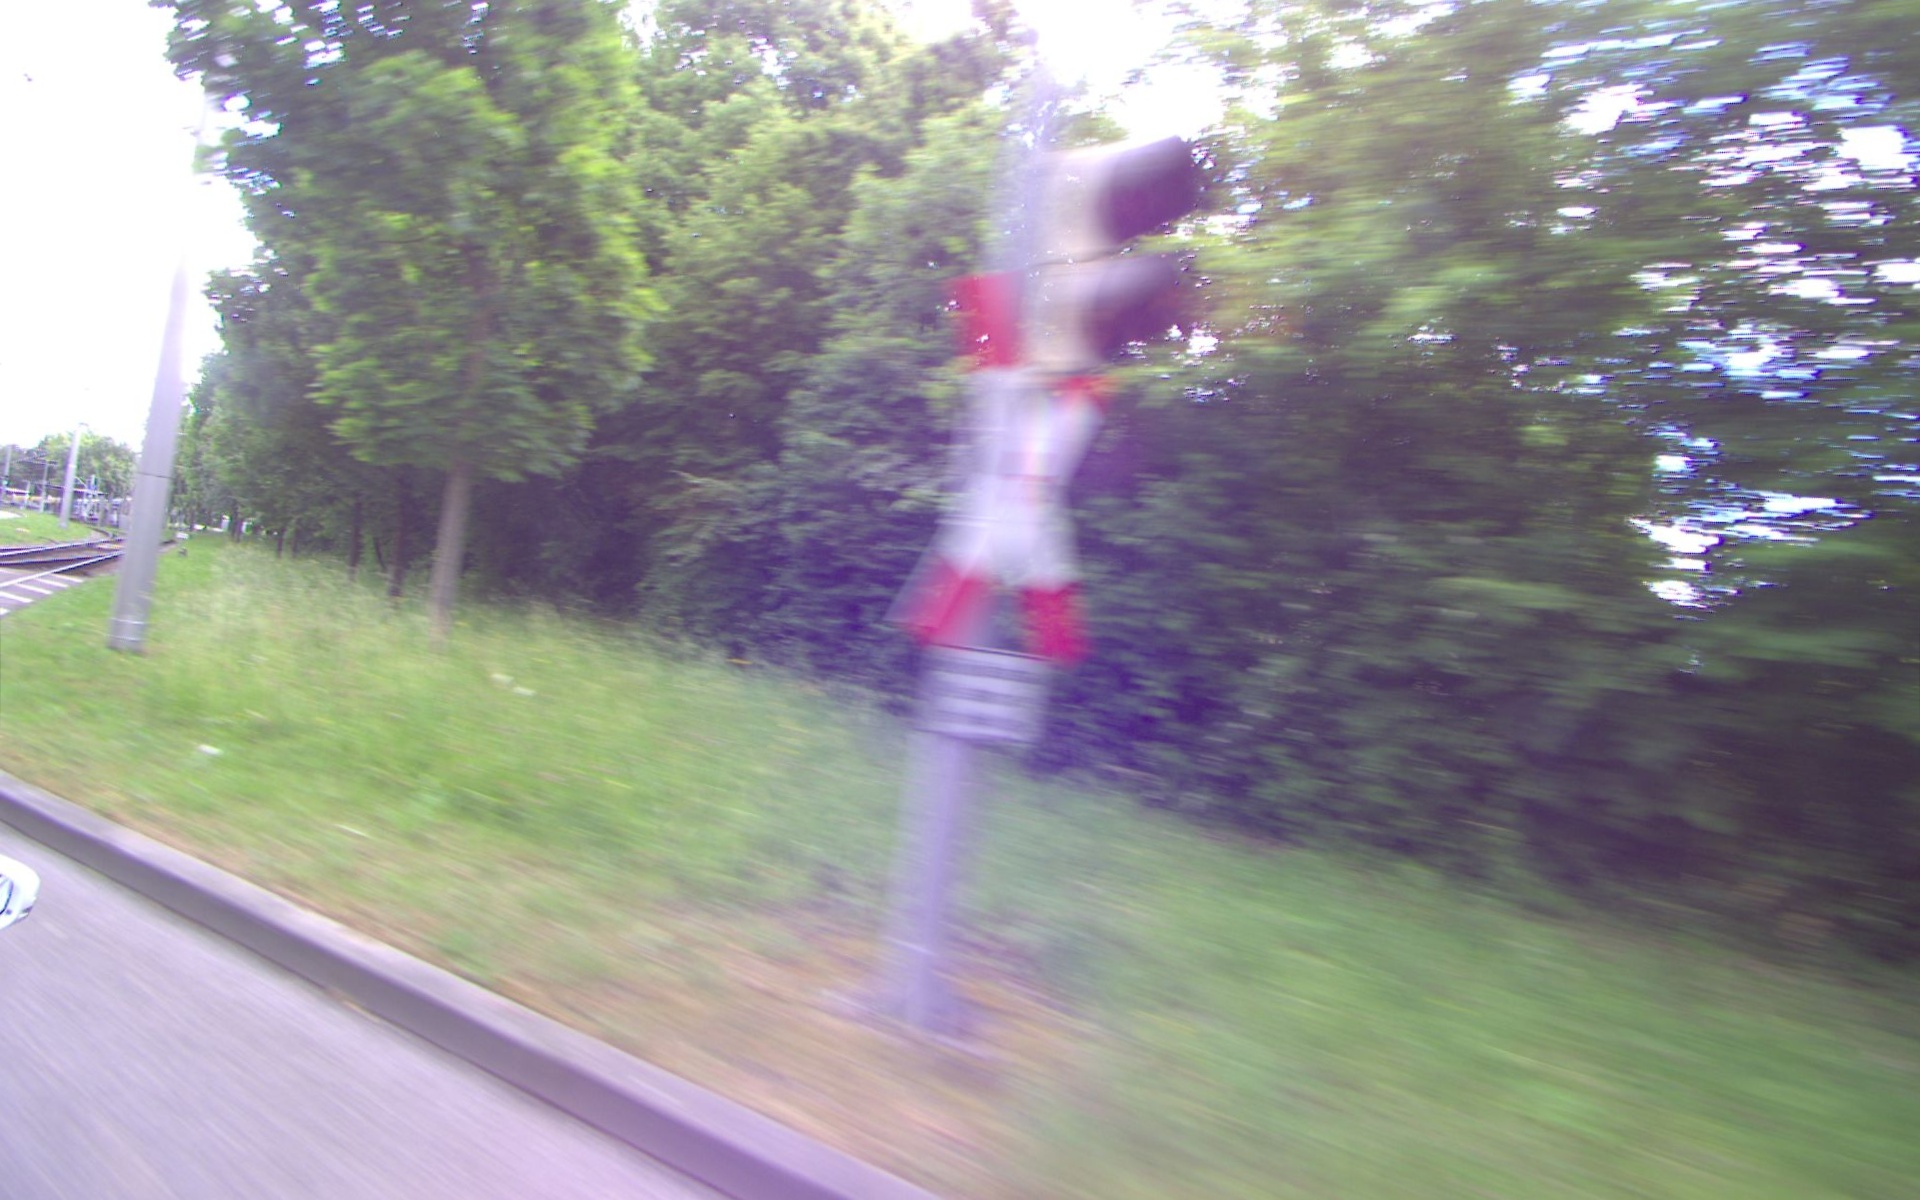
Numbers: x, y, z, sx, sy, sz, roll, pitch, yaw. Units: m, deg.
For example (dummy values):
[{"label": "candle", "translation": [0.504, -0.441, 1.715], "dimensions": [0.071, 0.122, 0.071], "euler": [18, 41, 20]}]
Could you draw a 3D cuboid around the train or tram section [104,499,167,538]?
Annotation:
[{"label": "train or tram section", "translation": [-95.550, -9.653, 116.102], "dimensions": [3.002, 3.347, 34.281], "euler": [10, -3, -43]}]
